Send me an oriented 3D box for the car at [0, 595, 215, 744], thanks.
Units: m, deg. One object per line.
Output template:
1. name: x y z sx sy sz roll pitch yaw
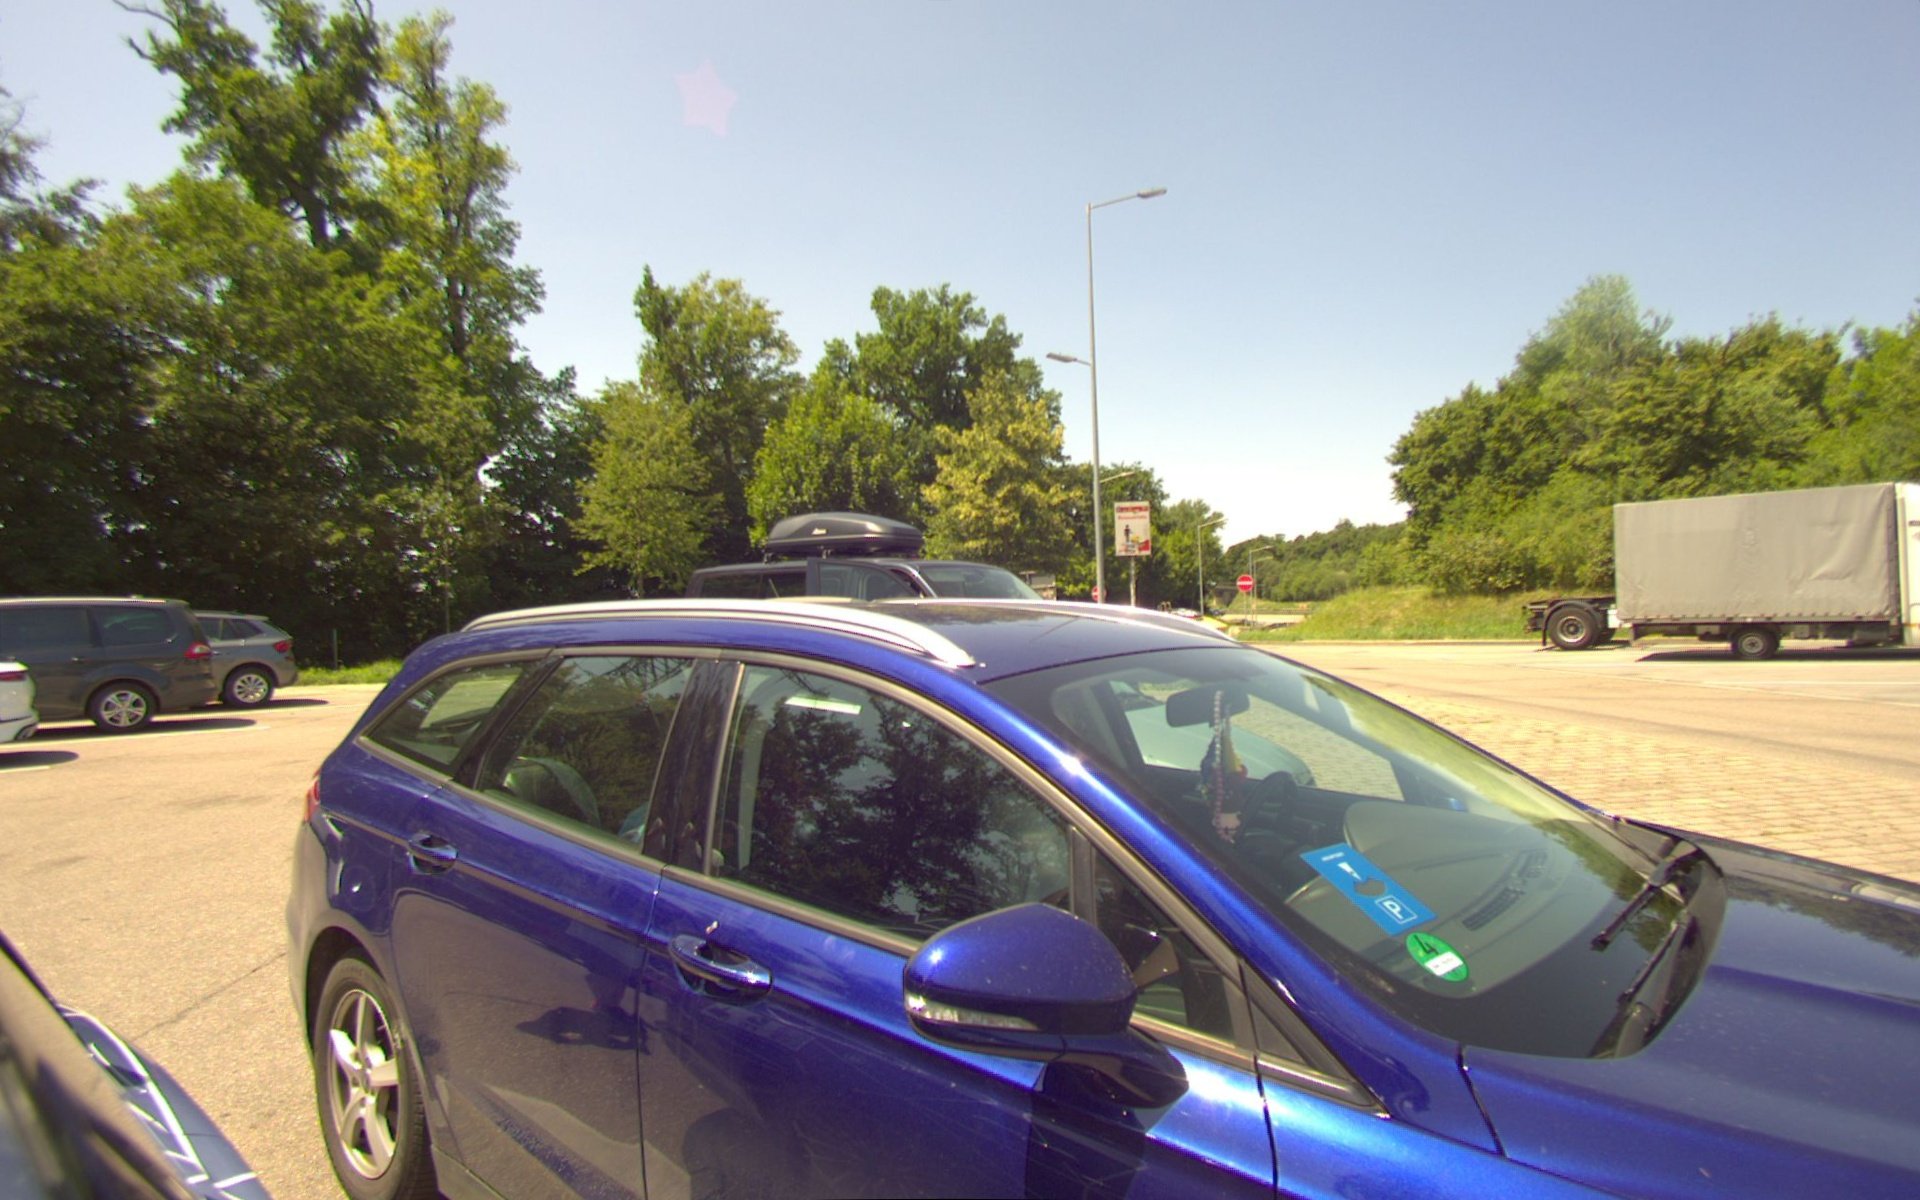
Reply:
1. car: -11.657 0.827 12.634 3.762 1.737 1.724 0 -1 -38

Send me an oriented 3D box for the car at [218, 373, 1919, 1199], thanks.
1. car: 0.244 0.635 2.085 4.637 1.493 1.720 -2 -1 39

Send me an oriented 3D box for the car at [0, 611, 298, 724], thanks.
1. car: -12.596 0.962 15.715 3.762 1.551 1.724 0 -1 -38

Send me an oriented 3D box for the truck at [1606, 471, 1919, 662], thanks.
1. truck: 16.705 -0.599 18.945 7.337 3.235 2.502 -4 -1 41

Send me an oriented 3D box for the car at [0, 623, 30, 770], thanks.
1. car: -10.999 0.936 9.170 3.767 1.396 1.722 0 -1 -43

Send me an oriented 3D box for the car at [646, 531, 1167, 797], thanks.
1. car: -0.661 0.513 9.371 4.635 1.884 1.937 -2 0 37

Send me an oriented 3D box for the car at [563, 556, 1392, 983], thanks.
1. car: -0.218 0.673 5.797 4.637 1.545 1.720 -2 0 39

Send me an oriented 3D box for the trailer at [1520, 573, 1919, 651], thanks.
1. trailer: 17.633 0.315 23.166 8.088 1.385 2.200 -4 -1 41
